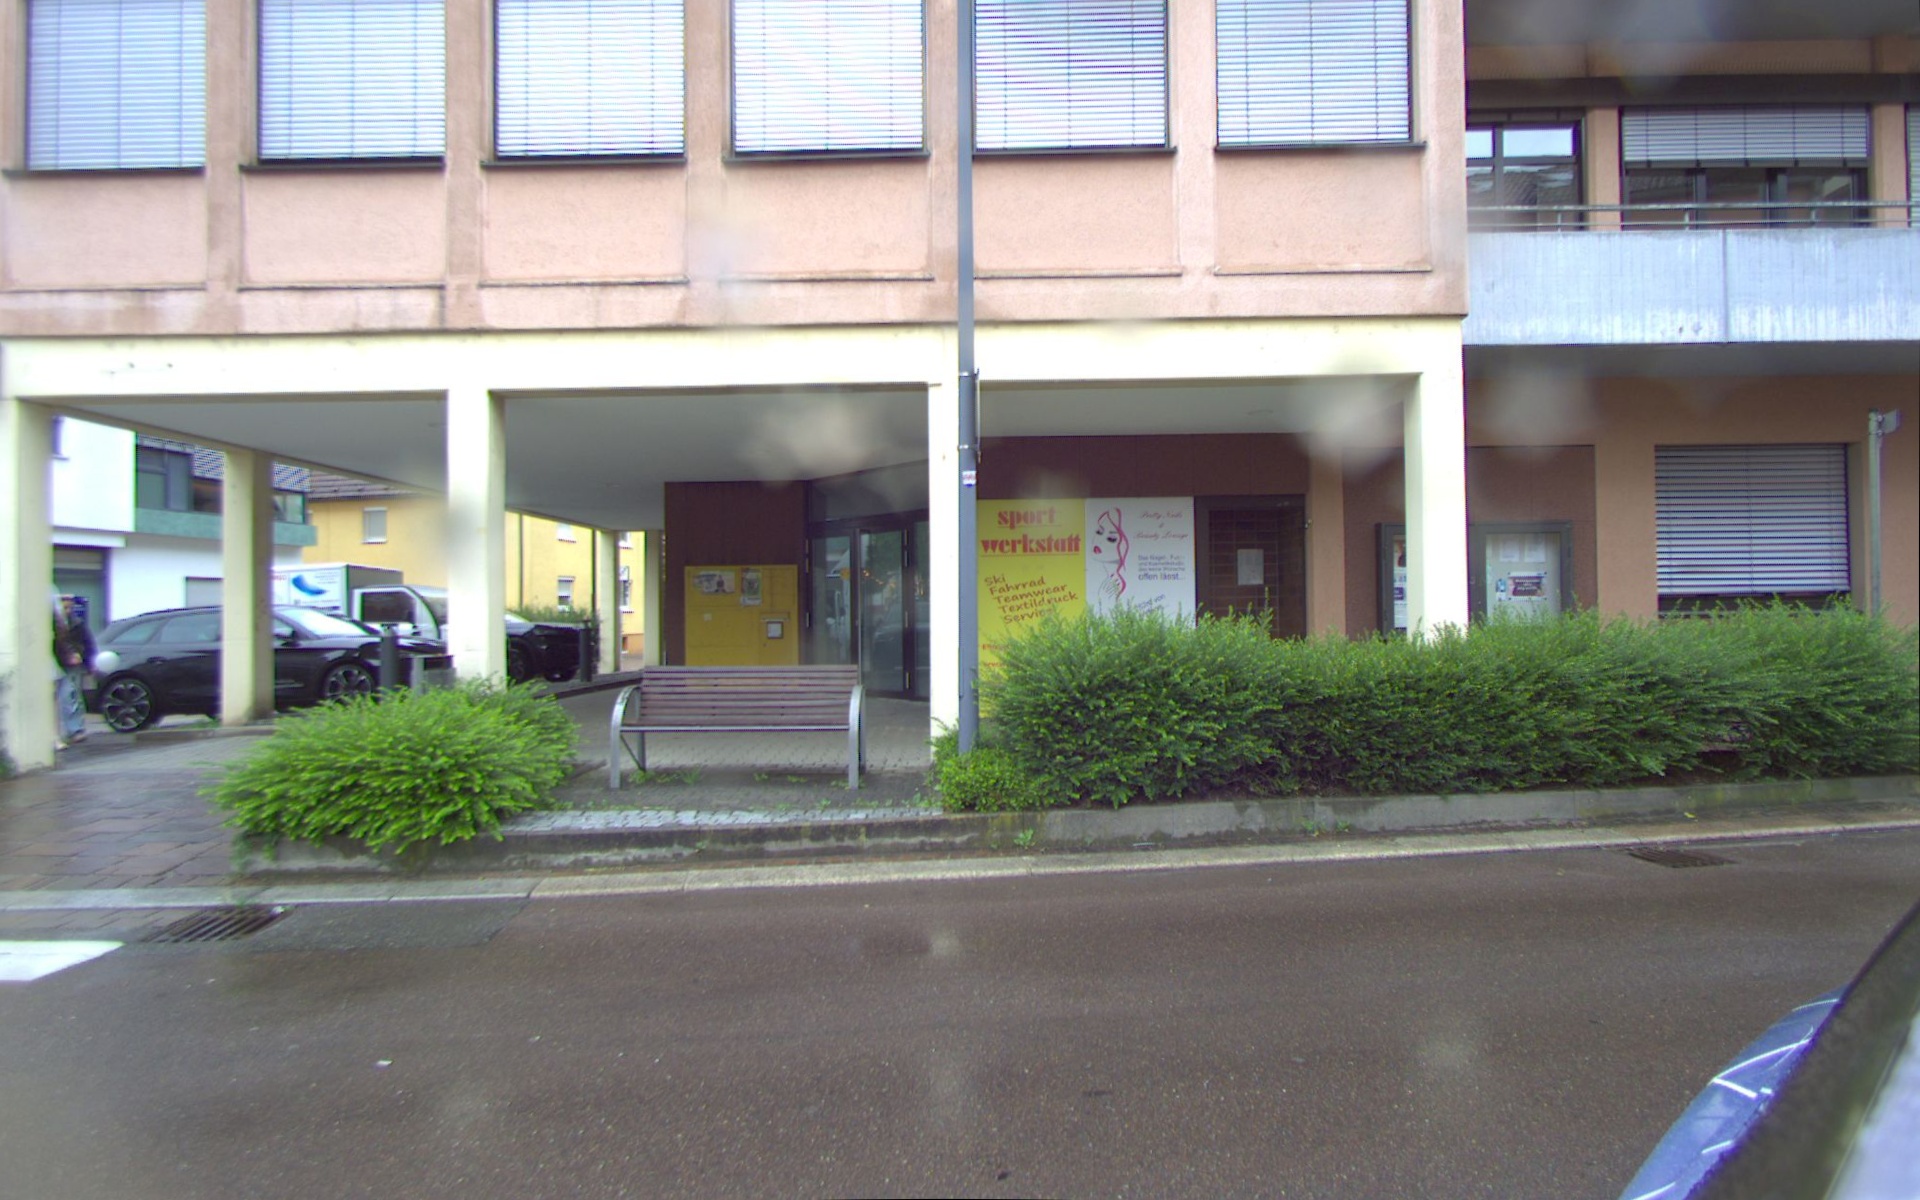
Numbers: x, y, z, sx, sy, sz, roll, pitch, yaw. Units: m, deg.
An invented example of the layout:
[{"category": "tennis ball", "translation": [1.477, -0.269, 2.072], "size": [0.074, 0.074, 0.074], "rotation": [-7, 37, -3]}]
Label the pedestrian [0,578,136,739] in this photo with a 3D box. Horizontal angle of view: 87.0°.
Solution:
[{"category": "pedestrian", "translation": [-9.766, 0.604, 11.088], "size": [0.729, 1.660, 0.956], "rotation": [-1, 0, 33]}]

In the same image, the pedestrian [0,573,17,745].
[{"category": "pedestrian", "translation": [-9.753, 0.583, 9.674], "size": [0.804, 1.682, 0.699], "rotation": [-1, 0, -4]}]

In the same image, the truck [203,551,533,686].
[{"category": "truck", "translation": [-8.736, 0.253, 15.166], "size": [3.925, 1.831, 1.768], "rotation": [-1, 0, 2]}]

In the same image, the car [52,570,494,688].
[{"category": "car", "translation": [-8.391, 0.336, 12.612], "size": [4.389, 1.292, 1.767], "rotation": [-1, 0, 3]}]

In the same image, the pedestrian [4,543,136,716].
[{"category": "pedestrian", "translation": [-9.167, 0.294, 10.448], "size": [0.719, 1.711, 0.725], "rotation": [-1, 0, -3]}]
